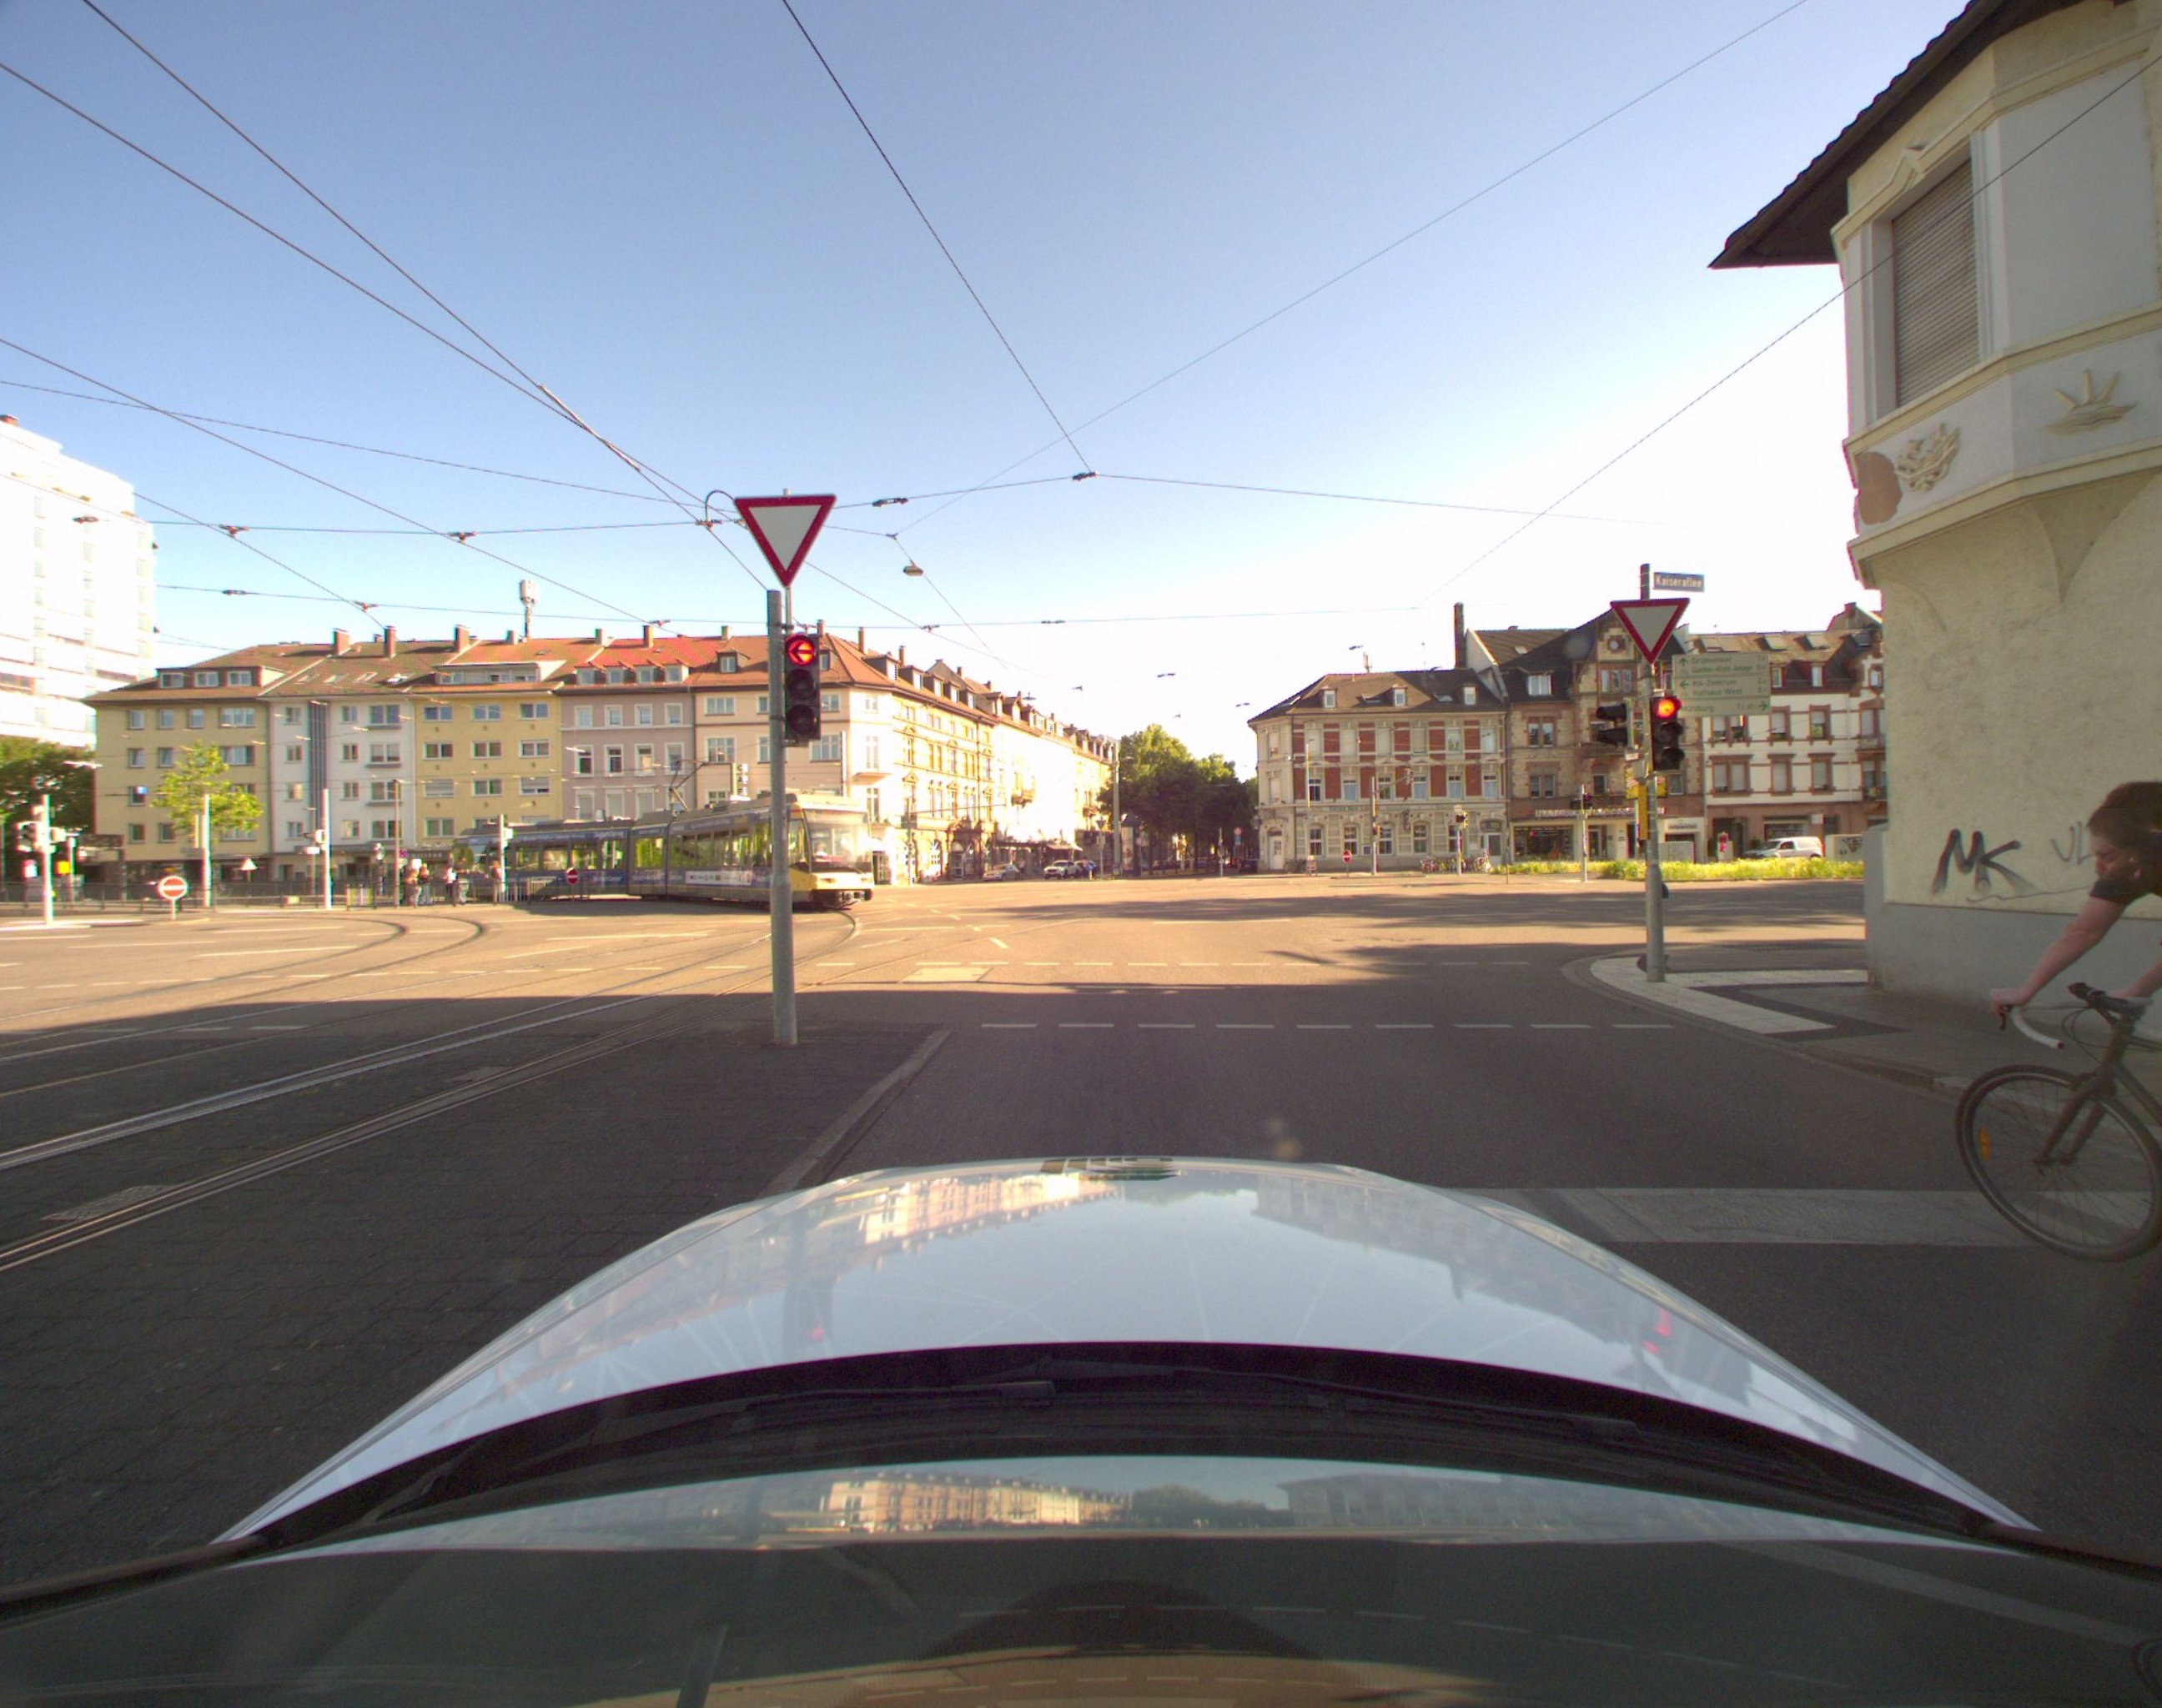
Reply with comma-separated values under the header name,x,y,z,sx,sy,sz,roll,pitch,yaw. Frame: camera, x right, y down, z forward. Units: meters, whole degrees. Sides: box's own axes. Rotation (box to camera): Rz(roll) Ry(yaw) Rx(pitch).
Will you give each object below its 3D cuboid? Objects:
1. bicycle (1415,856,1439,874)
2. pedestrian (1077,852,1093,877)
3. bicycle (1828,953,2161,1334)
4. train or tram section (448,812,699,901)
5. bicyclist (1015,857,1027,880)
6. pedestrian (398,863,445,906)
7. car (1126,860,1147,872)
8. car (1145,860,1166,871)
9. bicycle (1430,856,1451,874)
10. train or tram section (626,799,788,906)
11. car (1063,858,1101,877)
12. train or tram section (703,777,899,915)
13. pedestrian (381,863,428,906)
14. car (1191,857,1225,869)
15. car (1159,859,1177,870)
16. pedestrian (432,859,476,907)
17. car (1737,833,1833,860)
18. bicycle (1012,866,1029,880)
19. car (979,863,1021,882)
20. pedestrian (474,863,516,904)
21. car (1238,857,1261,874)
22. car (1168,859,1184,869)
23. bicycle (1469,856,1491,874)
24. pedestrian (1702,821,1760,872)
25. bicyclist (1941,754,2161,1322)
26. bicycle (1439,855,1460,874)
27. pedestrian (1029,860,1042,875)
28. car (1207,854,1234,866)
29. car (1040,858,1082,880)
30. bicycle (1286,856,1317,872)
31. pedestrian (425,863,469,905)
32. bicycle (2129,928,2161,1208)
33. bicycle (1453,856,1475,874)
name,x,y,z,sx,sy,sz,roll,pitch,yaw
bicycle,22.504,0.703,52.984,0.802,1.143,2.178,-2,0,7
pedestrian,0.311,0.756,58.336,1.045,1.744,0.807,-1,0,-6
bicycle,3.618,0.951,2.668,0.642,1.010,1.930,-2,0,4
train or tram section,-22.245,0.208,35.427,11.884,3.500,2.795,-1,0,23
bicyclist,-4.808,1.134,65.336,0.674,1.820,1.075,-2,0,14
pedestrian,-25.677,1.177,31.725,0.931,1.598,1.013,-2,0,14
car,7.539,1.671,110.978,1.978,1.486,4.017,-1,0,16
car,11.261,1.734,122.598,1.977,1.612,4.413,-2,0,20
bicycle,23.283,0.694,52.835,0.615,1.143,2.178,-2,0,7
train or tram section,-14.221,0.001,30.561,2.840,3.500,8.357,-1,0,-44
car,0.122,1.220,74.013,1.977,1.612,4.413,-2,0,20
train or tram section,-8.735,-0.170,24.653,2.839,3.500,7.867,-1,0,-41
pedestrian,-25.655,1.149,30.881,0.930,1.598,1.014,-2,0,19
car,17.983,1.312,115.225,4.335,1.612,2.012,-2,0,28
car,13.919,1.703,130.330,1.822,1.552,4.412,-2,0,19
pedestrian,-23.895,1.073,31.034,0.939,1.775,1.006,-1,0,-11
car,45.363,-0.478,52.552,4.317,1.640,2.152,-2,0,1
bicycle,-4.812,1.515,65.293,0.675,1.066,2.133,-2,0,14
car,-6.678,1.524,67.379,1.883,1.455,4.020,-2,0,20
pedestrian,-23.235,1.168,32.302,0.997,1.598,0.946,-2,0,23
car,17.020,1.143,82.213,1.978,1.585,4.017,-2,0,16
car,15.837,1.723,136.164,1.750,1.549,4.411,-2,0,18
bicycle,25.760,0.692,52.597,0.606,1.136,2.139,-2,0,7
pedestrian,27.117,-0.304,33.997,1.314,2.044,1.307,-2,0,1
bicyclist,3.603,0.564,2.591,0.559,1.754,1.102,-2,0,4
bicycle,23.862,0.674,52.782,0.615,1.143,2.178,-2,0,7
pedestrian,-4.638,1.405,83.469,0.921,1.535,1.142,-1,0,16
car,22.837,0.973,133.300,3.948,1.706,2.013,-2,0,32
car,-1.603,1.254,67.536,1.977,1.684,4.413,-2,0,20
bicycle,15.504,0.726,57.187,2.081,1.124,0.366,0,-1,-3
pedestrian,-25.300,1.185,32.513,0.998,1.598,0.946,-2,0,18
bicycle,4.538,0.860,2.443,0.516,1.116,1.815,-2,0,4
bicycle,24.783,0.713,52.687,0.615,1.143,2.178,-2,0,7
